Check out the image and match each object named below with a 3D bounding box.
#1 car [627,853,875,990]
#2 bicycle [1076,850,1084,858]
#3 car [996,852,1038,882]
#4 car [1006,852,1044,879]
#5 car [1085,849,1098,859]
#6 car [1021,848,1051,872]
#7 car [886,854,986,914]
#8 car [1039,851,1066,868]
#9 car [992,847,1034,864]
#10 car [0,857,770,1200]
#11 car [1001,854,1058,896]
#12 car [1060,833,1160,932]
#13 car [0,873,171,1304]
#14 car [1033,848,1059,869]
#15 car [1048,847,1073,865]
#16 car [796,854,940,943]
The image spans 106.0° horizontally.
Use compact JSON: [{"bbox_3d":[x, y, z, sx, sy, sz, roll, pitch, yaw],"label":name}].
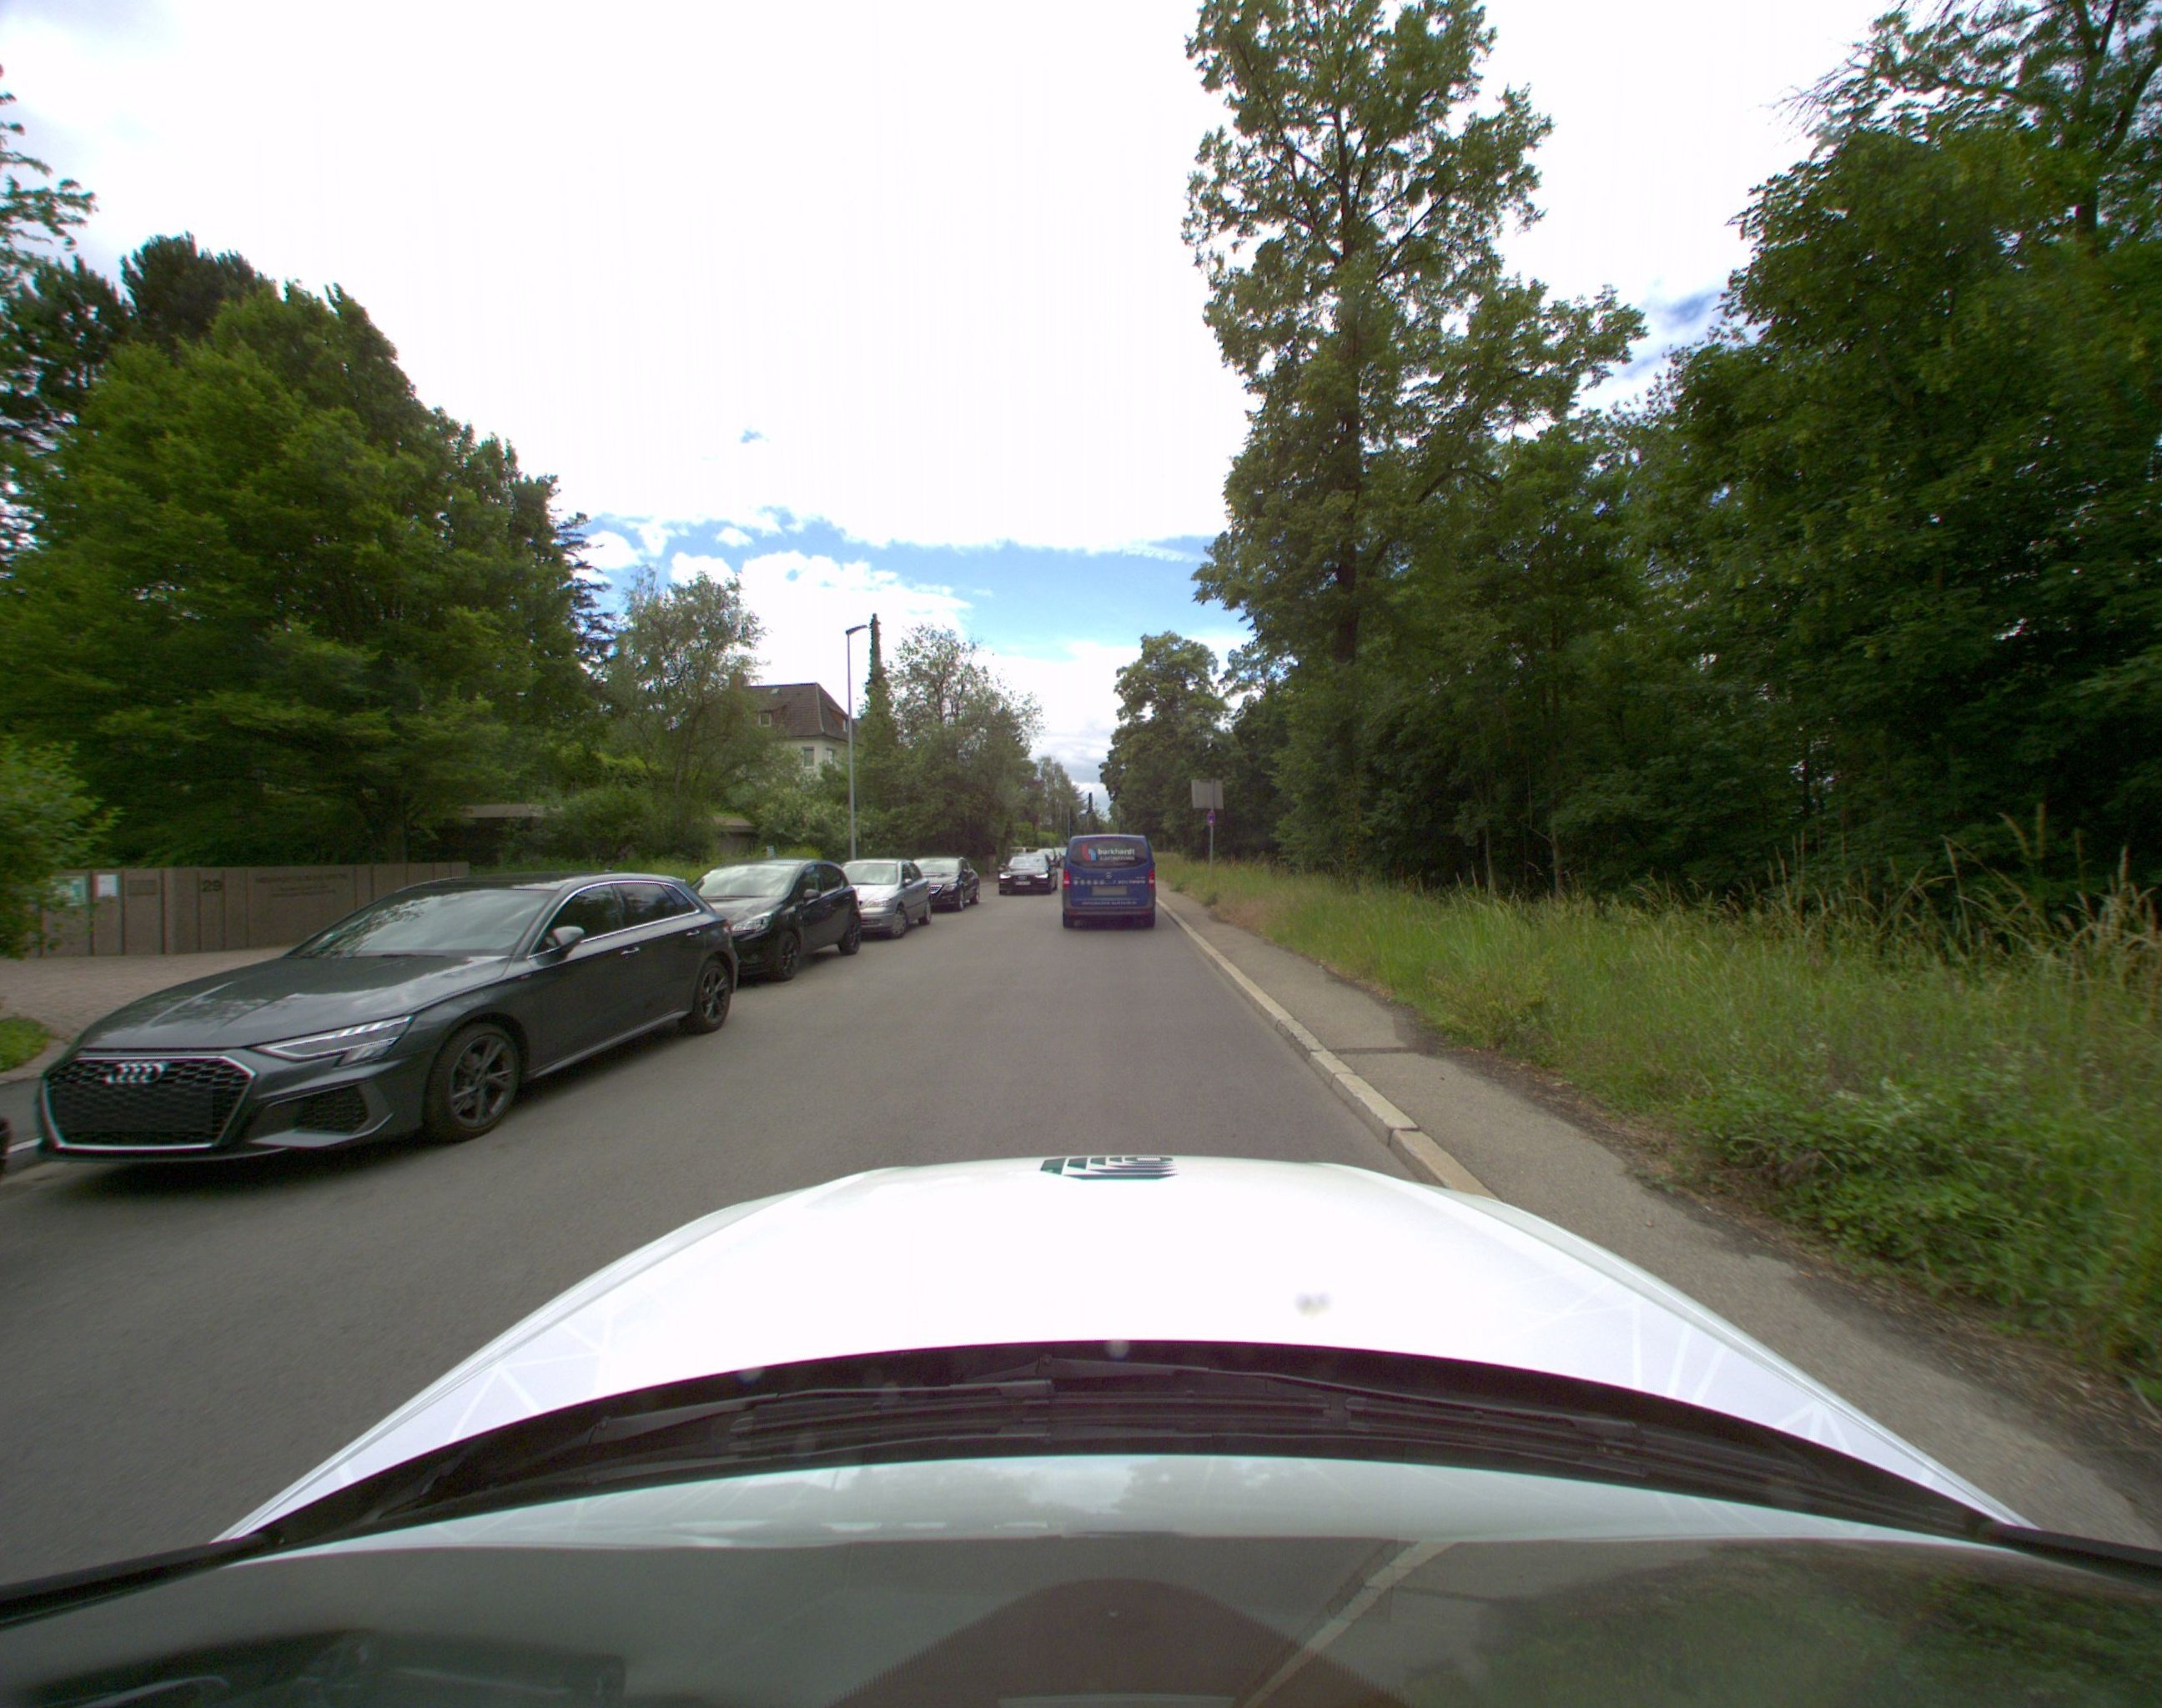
[{"bbox_3d":[-4.238,0.761,11.199,1.618,1.482,4.002,-2,0,2],"label":"car"},{"bbox_3d":[-0.112,0.043,130.082,0.901,1.252,2.920,2,0,5],"label":"bicycle"},{"bbox_3d":[-3.293,0.626,42.802,1.616,1.450,3.973,-1,0,4],"label":"car"},{"bbox_3d":[-3.204,0.620,47.523,1.653,1.452,4.385,-1,1,3],"label":"car"},{"bbox_3d":[1.714,-0.049,132.899,1.827,1.631,4.307,1,0,5],"label":"car"},{"bbox_3d":[-2.978,0.441,54.745,1.617,1.450,4.094,-4,-1,1],"label":"car"},{"bbox_3d":[-3.860,0.729,22.580,1.772,1.432,5.106,-1,0,1],"label":"car"},{"bbox_3d":[-2.432,0.431,70.978,1.746,1.412,4.904,0,0,5],"label":"car"},{"bbox_3d":[-6.561,0.142,78.936,3.665,1.637,1.835,1,0,15],"label":"car"},{"bbox_3d":[-4.101,0.814,5.970,1.699,1.482,4.498,-2,0,3],"label":"car"},{"bbox_3d":[-1.839,0.719,30.303,1.774,1.426,4.490,-1,0,1],"label":"car"},{"bbox_3d":[0.534,0.498,17.533,1.883,1.844,3.999,-2,1,-1],"label":"car"},{"bbox_3d":[-4.668,0.857,1.008,1.676,1.482,4.695,-2,0,2],"label":"car"},{"bbox_3d":[-2.792,0.334,65.533,1.725,1.632,4.570,0,0,1],"label":"car"},{"bbox_3d":[-2.039,0.208,81.702,1.965,1.736,5.196,0,0,4],"label":"car"},{"bbox_3d":[-4.017,0.761,16.091,1.618,1.432,4.351,-2,0,1],"label":"car"}]
